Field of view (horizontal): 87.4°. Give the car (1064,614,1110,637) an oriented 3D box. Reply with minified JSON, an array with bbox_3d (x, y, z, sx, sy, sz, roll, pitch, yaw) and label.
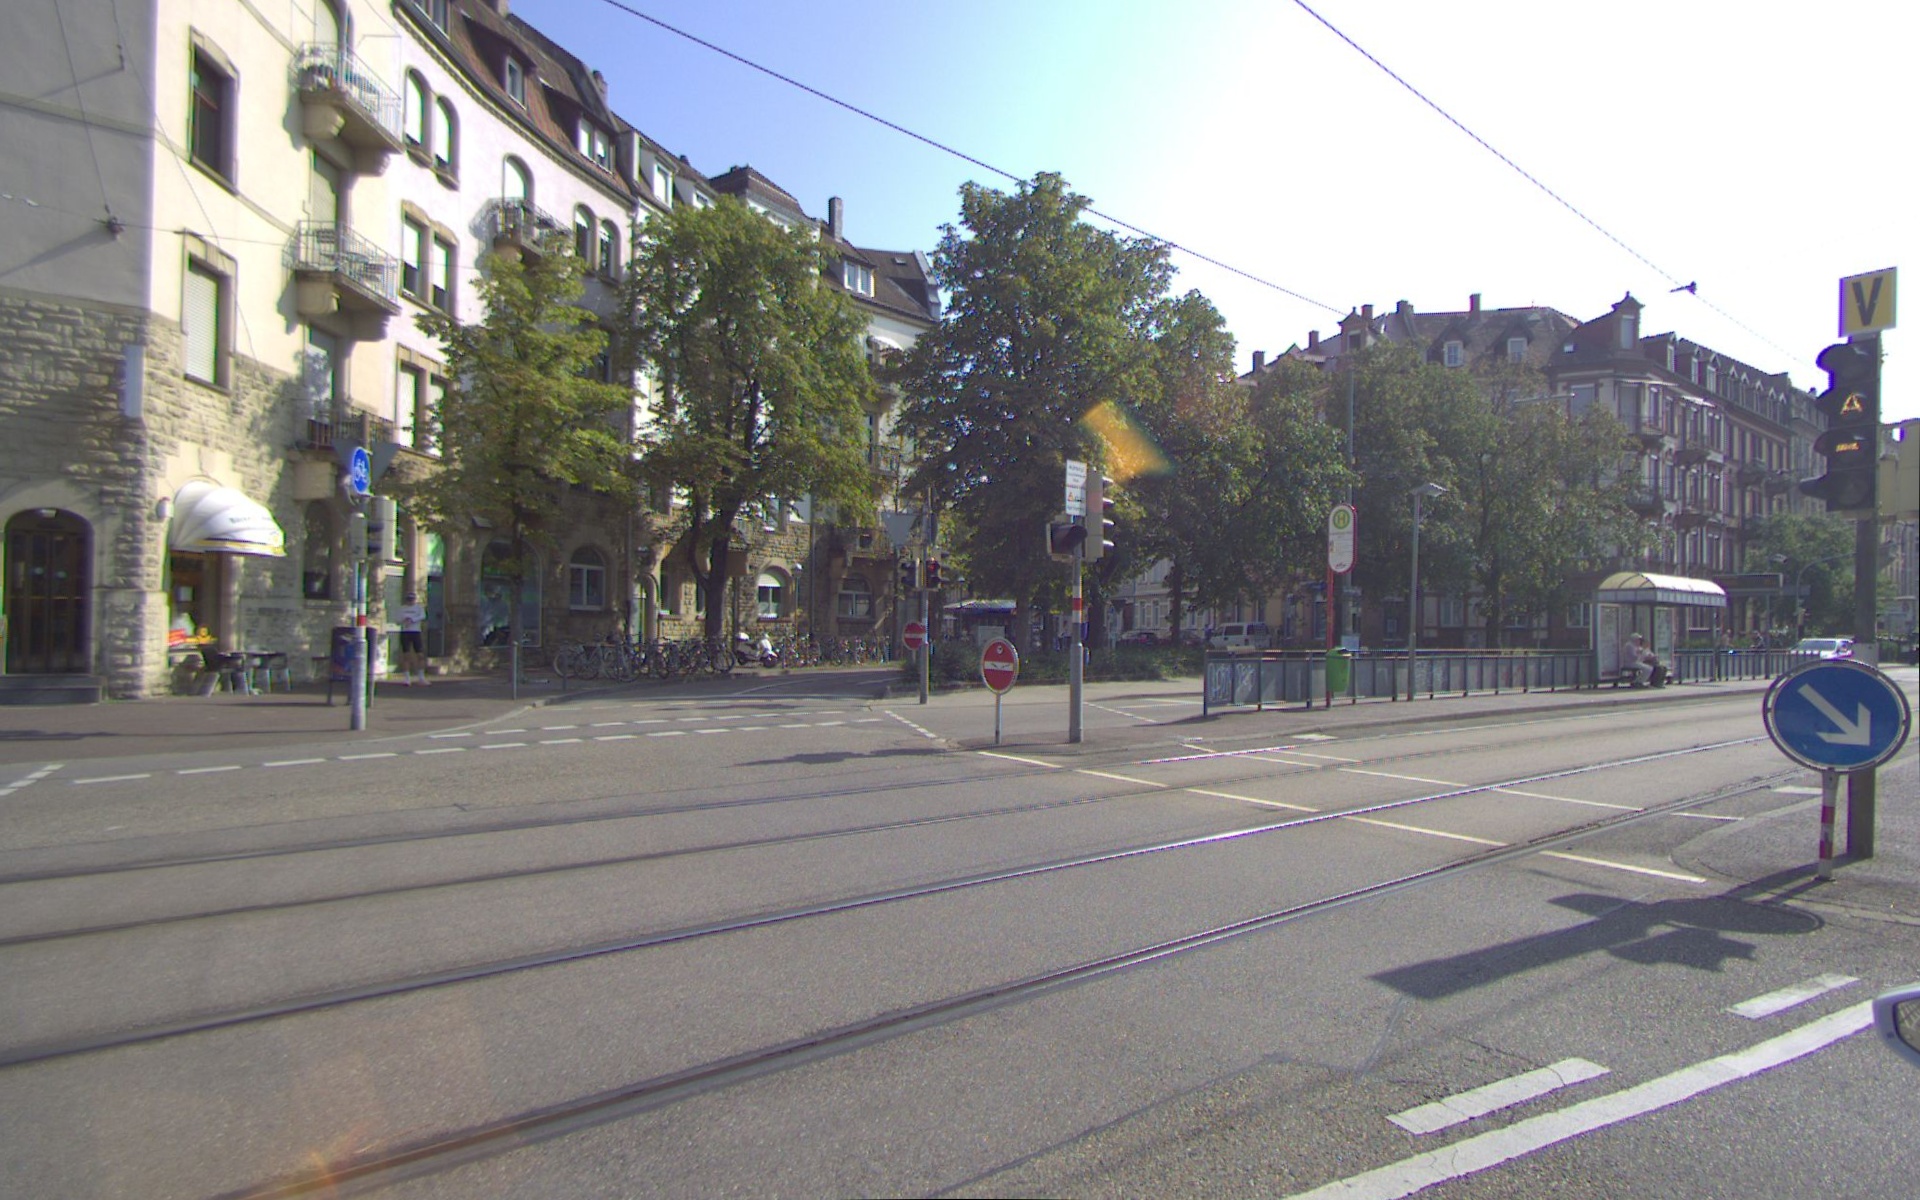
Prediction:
[{"bbox_3d":[10.517,2.127,83.446,1.972,1.852,3.977,1,-2,-24],"label":"car"}]

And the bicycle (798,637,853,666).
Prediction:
[{"bbox_3d":[-4.972,1.894,37.103,1.863,0.993,0.686,1,-2,20],"label":"bicycle"}]

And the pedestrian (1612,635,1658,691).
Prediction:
[{"bbox_3d":[17.179,1.584,25.571,0.770,1.376,0.820,2,-2,-41],"label":"pedestrian"}]

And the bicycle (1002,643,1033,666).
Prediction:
[{"bbox_3d":[2.615,2.481,45.863,0.598,0.990,1.757,1,-2,-29],"label":"bicycle"}]

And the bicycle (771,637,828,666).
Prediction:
[{"bbox_3d":[-5.713,1.821,35.759,1.874,0.947,0.738,1,-2,20],"label":"bicycle"}]

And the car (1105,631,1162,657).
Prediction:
[{"bbox_3d":[11.615,2.939,67.434,1.969,1.590,4.319,1,-2,-18],"label":"car"}]

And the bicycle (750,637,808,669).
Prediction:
[{"bbox_3d":[-6.242,1.822,34.592,1.841,1.041,0.664,1,-2,20],"label":"bicycle"}]

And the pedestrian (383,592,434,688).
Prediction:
[{"bbox_3d":[-11.291,0.814,20.548,0.769,1.918,0.885,2,-2,-37],"label":"pedestrian"}]

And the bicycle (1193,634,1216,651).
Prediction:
[{"bbox_3d":[14.432,2.515,59.264,0.488,0.990,1.937,1,-2,-14],"label":"bicycle"}]

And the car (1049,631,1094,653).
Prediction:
[{"bbox_3d":[8.447,3.158,76.657,1.967,1.590,4.323,1,-2,-15],"label":"car"}]

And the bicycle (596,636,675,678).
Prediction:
[{"bbox_3d":[-8.379,1.467,25.976,1.841,1.017,0.570,2,-1,-1],"label":"bicycle"}]

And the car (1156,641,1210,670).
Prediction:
[{"bbox_3d":[14.972,3.713,67.671,1.967,1.852,3.988,1,-1,-15],"label":"car"}]

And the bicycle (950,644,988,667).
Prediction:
[{"bbox_3d":[0.397,2.382,43.327,1.754,0.990,0.421,2,-2,-38],"label":"bicycle"}]

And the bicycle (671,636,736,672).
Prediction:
[{"bbox_3d":[-7.670,1.611,30.057,1.768,0.996,0.661,1,-1,12],"label":"bicycle"}]

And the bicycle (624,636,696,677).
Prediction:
[{"bbox_3d":[-8.201,1.532,27.461,1.840,1.047,0.570,1,-1,14],"label":"bicycle"}]

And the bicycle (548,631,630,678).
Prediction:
[{"bbox_3d":[-9.254,1.357,25.092,1.848,1.127,0.568,2,-1,-17],"label":"bicycle"}]

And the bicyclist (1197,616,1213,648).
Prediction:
[{"bbox_3d":[14.461,1.899,59.224,0.484,1.882,0.987,1,-1,-14],"label":"bicyclist"}]

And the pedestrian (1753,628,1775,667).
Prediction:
[{"bbox_3d":[36.760,2.158,45.928,0.742,1.753,0.767,0,-2,44],"label":"pedestrian"}]

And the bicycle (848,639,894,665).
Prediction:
[{"bbox_3d":[-3.523,2.045,39.662,1.847,0.947,0.637,0,-2,36],"label":"bicycle"}]

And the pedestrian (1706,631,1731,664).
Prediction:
[{"bbox_3d":[39.798,2.488,52.733,0.756,1.753,0.753,1,-1,3],"label":"pedestrian"}]

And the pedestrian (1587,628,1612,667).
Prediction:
[{"bbox_3d":[29.404,2.174,46.198,0.764,1.753,0.745,2,-2,-35],"label":"pedestrian"}]

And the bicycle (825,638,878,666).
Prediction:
[{"bbox_3d":[-4.113,1.981,38.212,1.863,0.993,0.686,1,-2,20],"label":"bicycle"}]

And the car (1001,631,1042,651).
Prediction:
[{"bbox_3d":[5.318,3.547,87.444,1.970,1.590,4.317,1,-2,-20],"label":"car"}]

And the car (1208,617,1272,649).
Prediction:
[{"bbox_3d":[16.769,1.975,60.426,1.967,1.852,3.988,1,-1,-15],"label":"car"}]

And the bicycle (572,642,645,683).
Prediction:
[{"bbox_3d":[-8.564,1.527,24.505,1.579,0.932,0.478,2,-1,-7],"label":"bicycle"}]

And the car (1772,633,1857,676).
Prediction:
[{"bbox_3d":[35.494,2.258,41.697,3.604,1.675,1.791,2,-2,-33],"label":"car"}]

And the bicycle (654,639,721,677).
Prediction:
[{"bbox_3d":[-7.824,1.659,28.851,1.768,0.997,0.570,1,-1,12],"label":"bicycle"}]

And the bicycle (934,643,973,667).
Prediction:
[{"bbox_3d":[-0.278,2.361,43.269,1.754,0.990,0.421,2,-2,-38],"label":"bicycle"}]

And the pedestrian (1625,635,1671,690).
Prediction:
[{"bbox_3d":[17.932,1.615,26.180,0.770,1.376,0.820,2,-2,-41],"label":"pedestrian"}]

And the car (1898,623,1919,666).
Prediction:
[{"bbox_3d":[62.054,2.852,63.933,5.051,2.697,2.333,2,-2,-34],"label":"car"}]

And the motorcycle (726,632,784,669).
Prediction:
[{"bbox_3d":[-6.883,1.688,33.705,1.838,1.169,0.608,1,-1,20],"label":"motorcycle"}]

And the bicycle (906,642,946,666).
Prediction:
[{"bbox_3d":[-1.482,2.335,43.724,1.739,0.991,0.519,0,-2,32],"label":"bicycle"}]

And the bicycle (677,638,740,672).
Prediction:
[{"bbox_3d":[-7.772,1.699,31.065,1.768,0.989,0.661,1,-1,12],"label":"bicycle"}]
